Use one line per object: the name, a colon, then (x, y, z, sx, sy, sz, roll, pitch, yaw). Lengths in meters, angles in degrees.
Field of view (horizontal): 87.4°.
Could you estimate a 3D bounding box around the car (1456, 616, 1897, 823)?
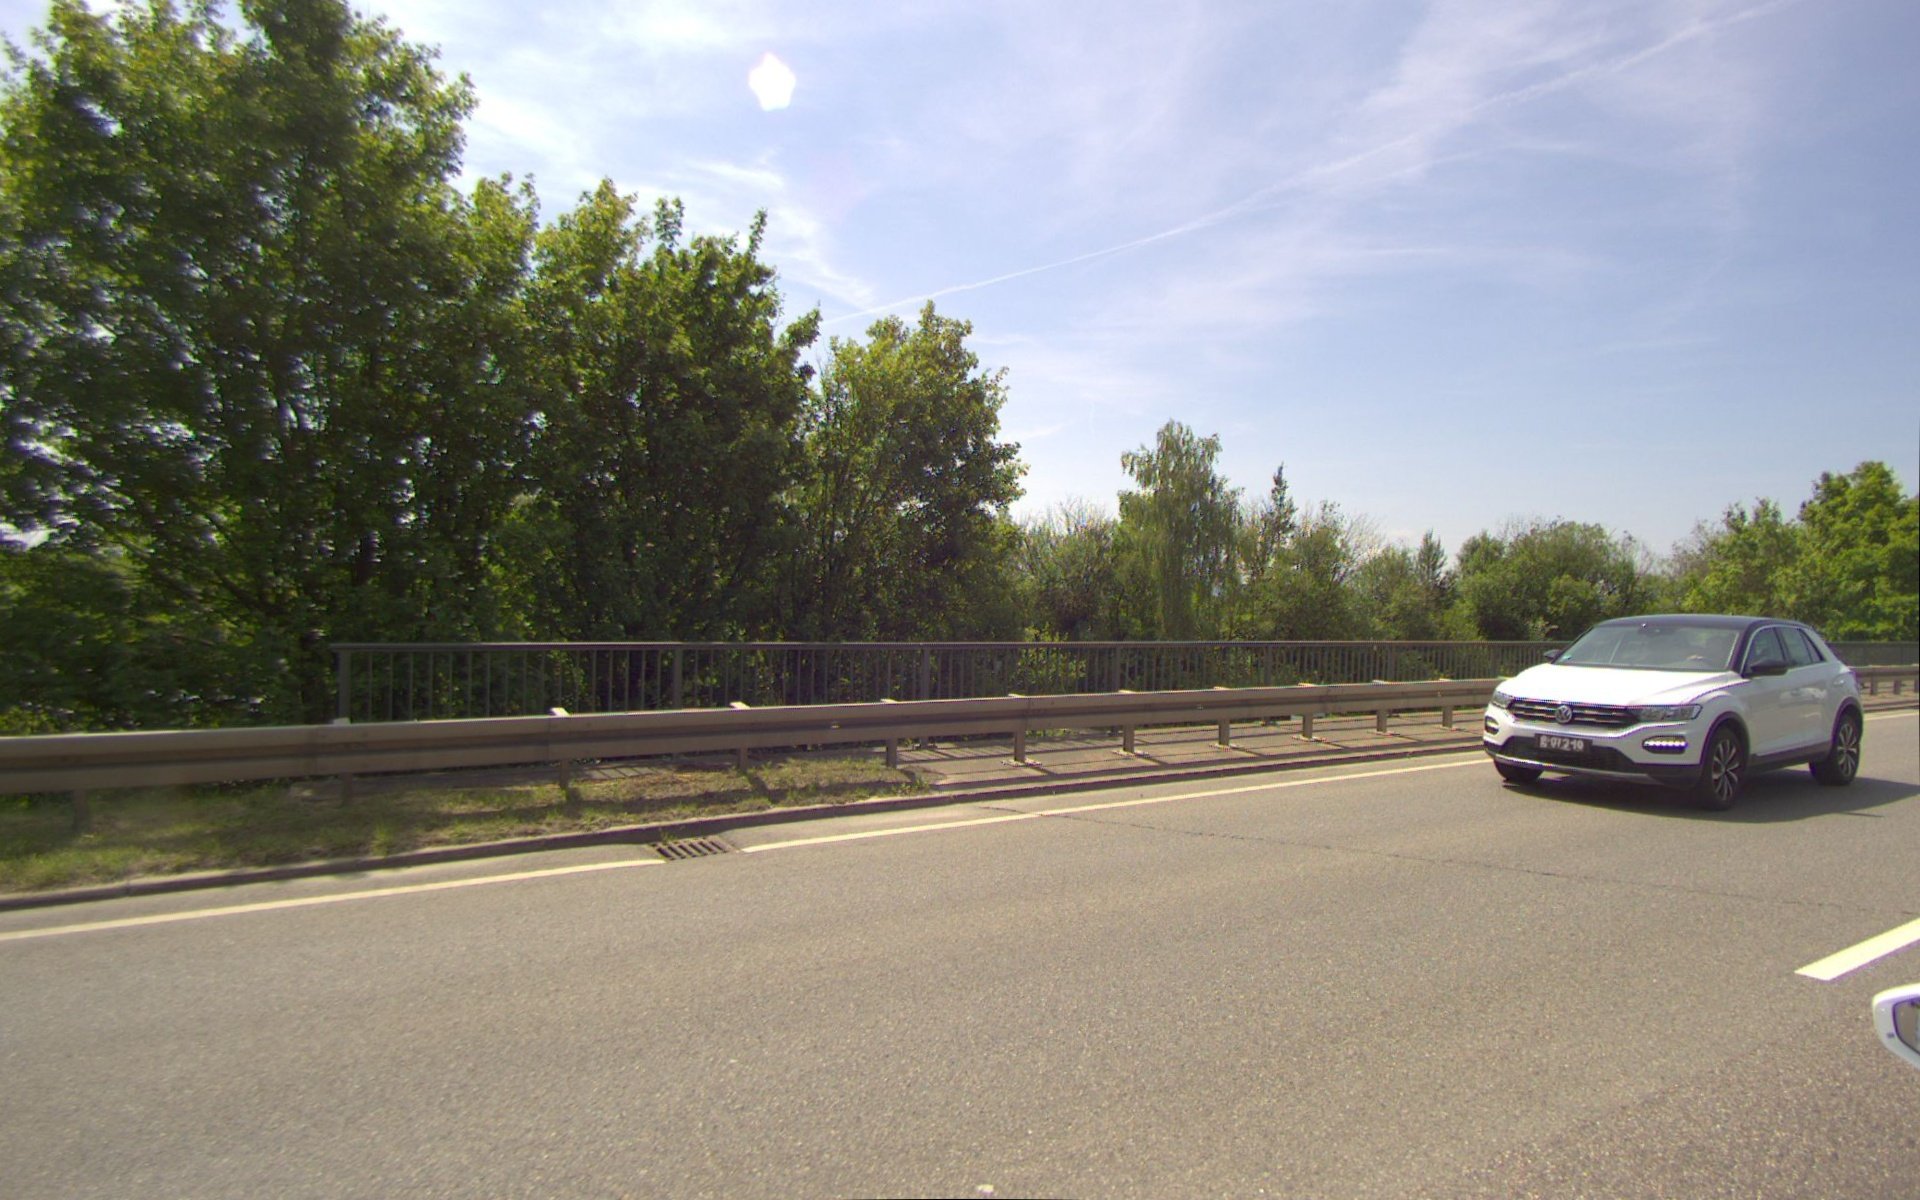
car: (6.876, 0.943, 9.513, 4.493, 1.531, 1.869, 1, -1, -32)
